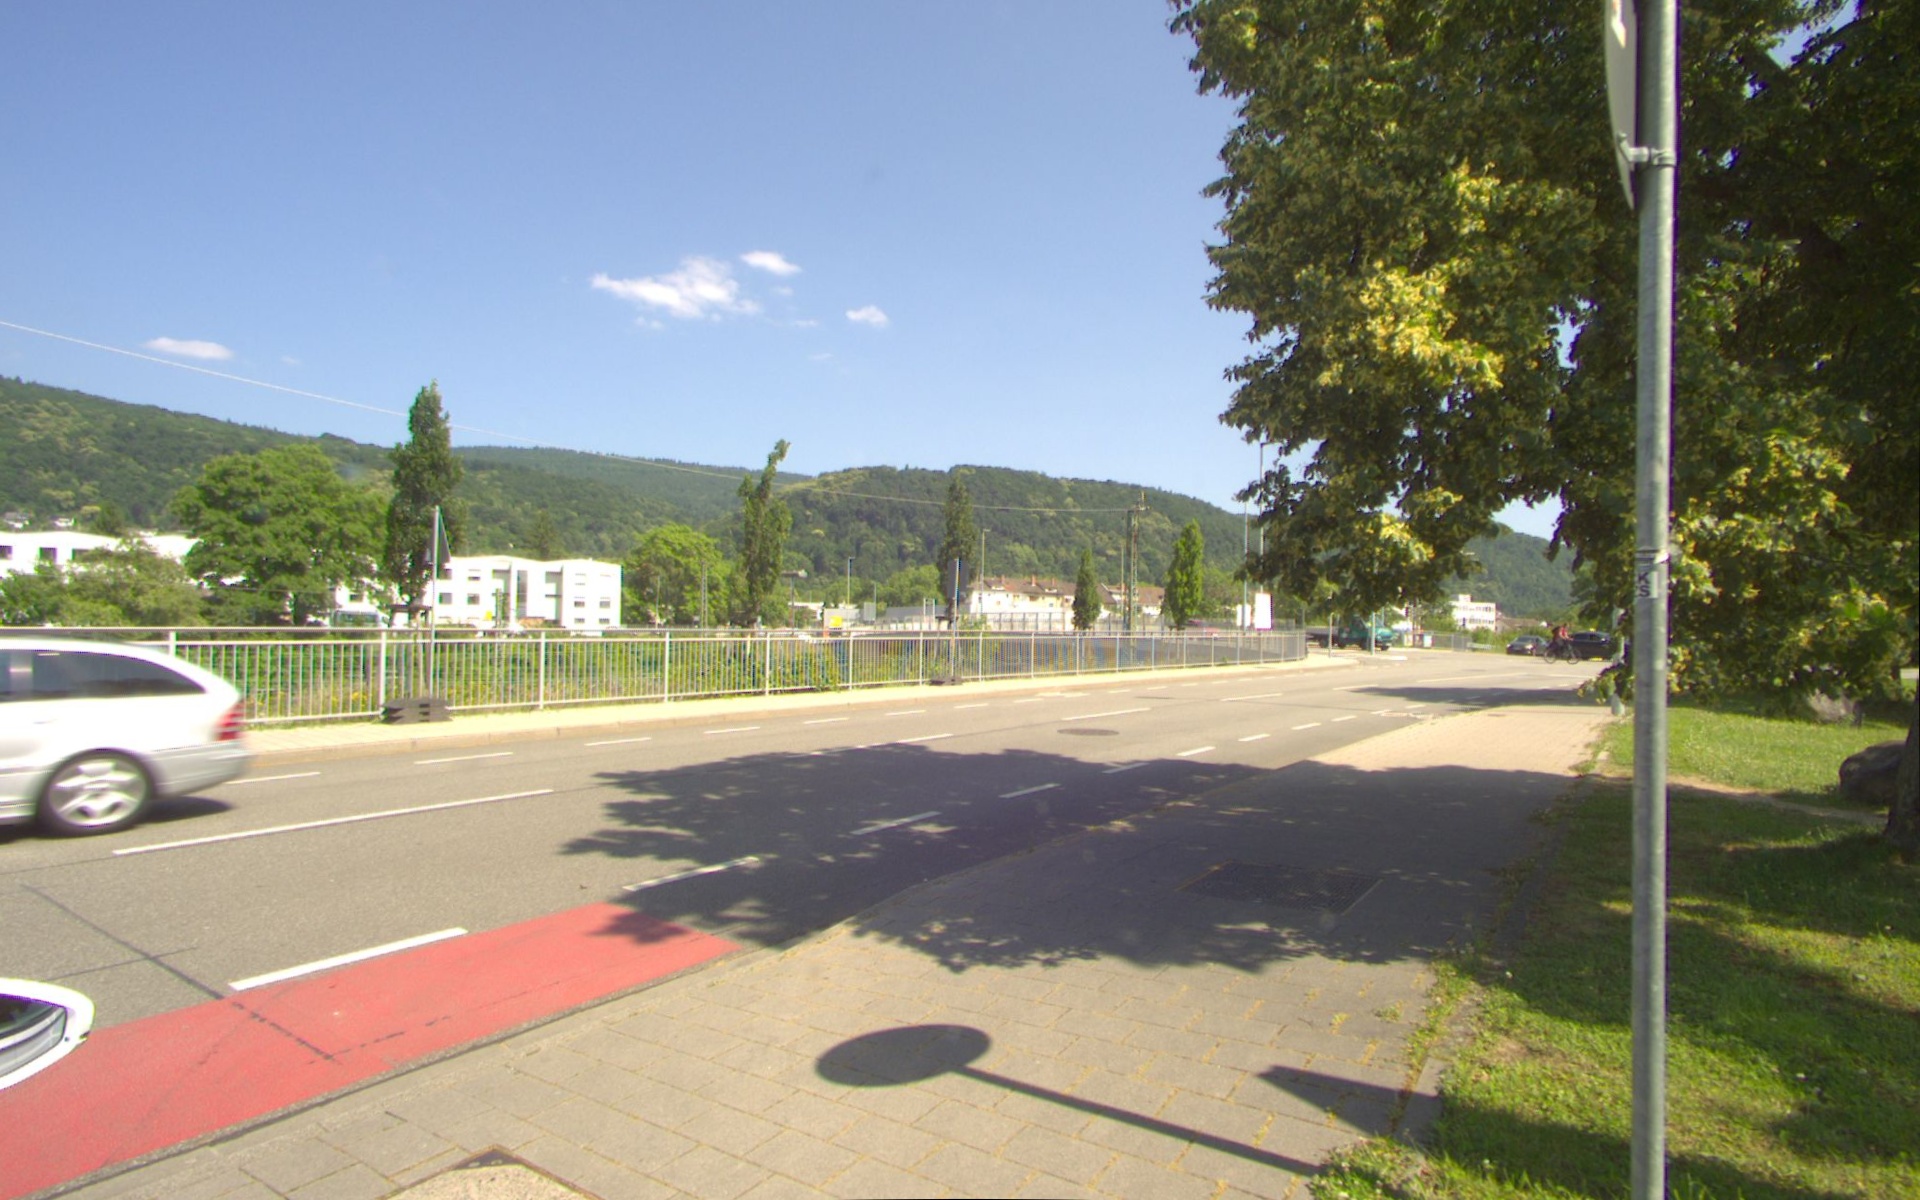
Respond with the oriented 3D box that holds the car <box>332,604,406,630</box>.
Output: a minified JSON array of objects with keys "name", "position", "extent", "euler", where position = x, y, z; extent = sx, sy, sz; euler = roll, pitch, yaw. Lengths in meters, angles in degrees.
[{"name":"car","position":[-53.920,1.556,91.432],"extent":[5.466,2.127,2.116],"euler":[0,-5,-45]}]

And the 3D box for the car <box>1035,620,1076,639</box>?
[{"name":"car","position":[9.129,2.800,95.948],"extent":[1.802,1.674,4.752],"euler":[-2,0,-24]}]

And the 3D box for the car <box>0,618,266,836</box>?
[{"name":"car","position":[-7.333,0.832,6.492],"extent":[1.691,1.421,4.361],"euler":[-1,-2,35]}]

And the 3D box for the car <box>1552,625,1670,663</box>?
[{"name":"car","position":[32.092,2.143,49.482],"extent":[1.857,1.776,4.595],"euler":[1,-1,-27]}]

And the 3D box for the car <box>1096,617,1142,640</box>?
[{"name":"car","position":[13.808,2.453,87.215],"extent":[1.802,1.874,4.354],"euler":[-2,0,-25]}]

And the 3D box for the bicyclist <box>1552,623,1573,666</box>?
[{"name":"bicyclist","position":[27.773,2.050,46.170],"extent":[0.544,1.922,0.654],"euler":[-2,1,-27]}]

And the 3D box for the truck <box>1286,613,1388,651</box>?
[{"name":"truck","position":[24.938,2.100,66.475],"extent":[2.350,2.405,6.359],"euler":[2,-2,-28]}]

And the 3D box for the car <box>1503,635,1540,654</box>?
[{"name":"car","position":[40.076,3.160,71.461],"extent":[1.592,1.271,3.654],"euler":[0,-1,41]}]

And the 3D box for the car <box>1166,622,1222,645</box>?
[{"name":"car","position":[18.317,2.607,78.415],"extent":[1.804,1.701,4.350],"euler":[-2,0,-29]}]

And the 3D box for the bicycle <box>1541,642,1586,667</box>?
[{"name":"bicycle","position":[27.812,2.510,46.153],"extent":[0.573,1.057,1.718],"euler":[-2,1,-26]}]
